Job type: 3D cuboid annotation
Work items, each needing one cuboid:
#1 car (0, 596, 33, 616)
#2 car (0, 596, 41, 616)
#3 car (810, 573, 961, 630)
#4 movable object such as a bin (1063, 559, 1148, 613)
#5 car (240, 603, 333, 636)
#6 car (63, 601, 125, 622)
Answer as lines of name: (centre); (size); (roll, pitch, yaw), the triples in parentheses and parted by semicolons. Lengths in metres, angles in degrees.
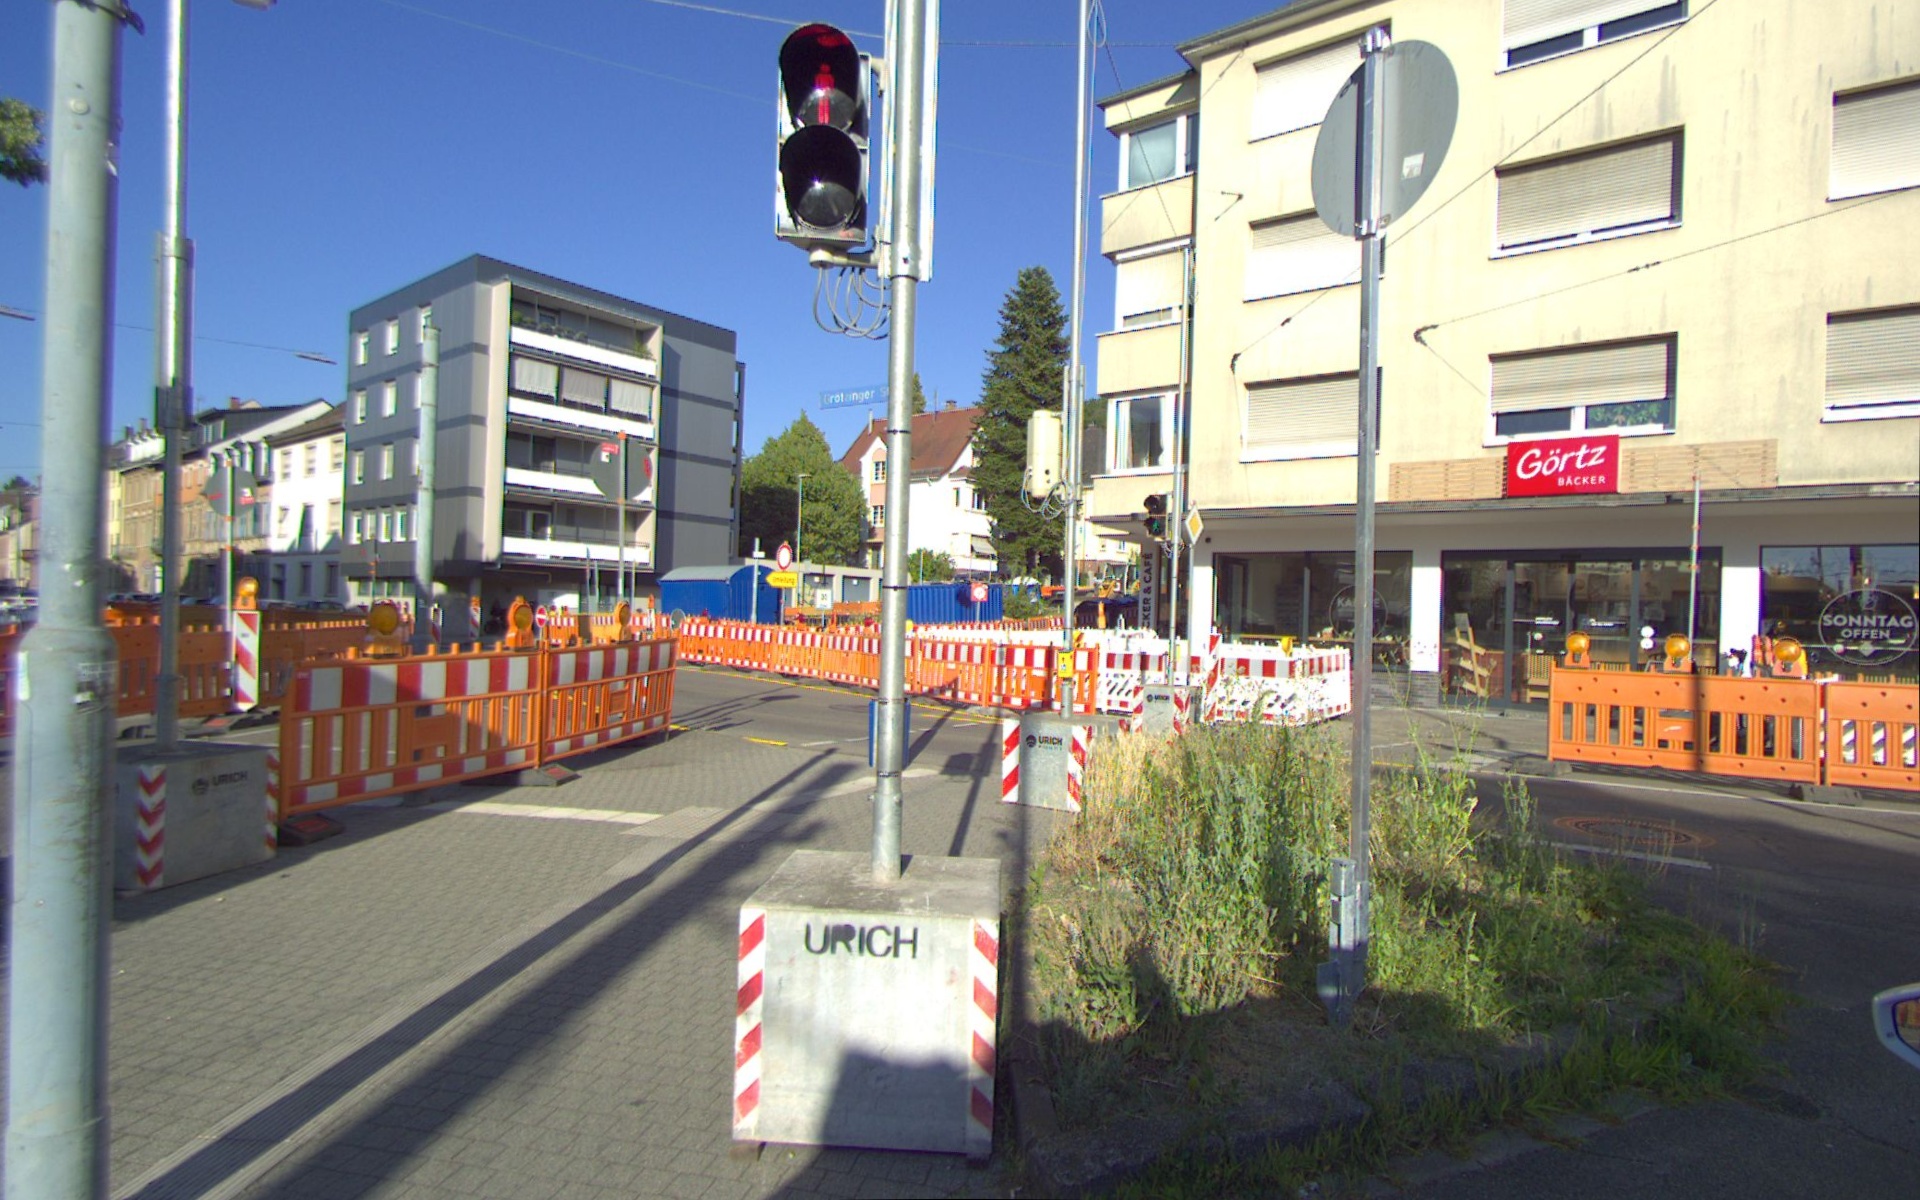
car: (-98.782, 0.591, 104.516); (3.390, 1.954, 1.493); (2, 0, -43)
car: (-92.906, 0.584, 98.948); (3.390, 1.954, 1.493); (2, 0, -43)
car: (-2.993, 0.143, 41.658); (2.557, 2.149, 6.113); (0, -2, 44)
movable object such as a bin: (7.365, -0.666, 50.685); (1.928, 2.527, 4.523); (0, -1, 45)
car: (-31.142, 0.900, 46.497); (3.390, 1.430, 1.493); (2, 0, -43)
car: (-64.492, 0.871, 74.814); (3.390, 1.430, 1.493); (2, 0, -43)
